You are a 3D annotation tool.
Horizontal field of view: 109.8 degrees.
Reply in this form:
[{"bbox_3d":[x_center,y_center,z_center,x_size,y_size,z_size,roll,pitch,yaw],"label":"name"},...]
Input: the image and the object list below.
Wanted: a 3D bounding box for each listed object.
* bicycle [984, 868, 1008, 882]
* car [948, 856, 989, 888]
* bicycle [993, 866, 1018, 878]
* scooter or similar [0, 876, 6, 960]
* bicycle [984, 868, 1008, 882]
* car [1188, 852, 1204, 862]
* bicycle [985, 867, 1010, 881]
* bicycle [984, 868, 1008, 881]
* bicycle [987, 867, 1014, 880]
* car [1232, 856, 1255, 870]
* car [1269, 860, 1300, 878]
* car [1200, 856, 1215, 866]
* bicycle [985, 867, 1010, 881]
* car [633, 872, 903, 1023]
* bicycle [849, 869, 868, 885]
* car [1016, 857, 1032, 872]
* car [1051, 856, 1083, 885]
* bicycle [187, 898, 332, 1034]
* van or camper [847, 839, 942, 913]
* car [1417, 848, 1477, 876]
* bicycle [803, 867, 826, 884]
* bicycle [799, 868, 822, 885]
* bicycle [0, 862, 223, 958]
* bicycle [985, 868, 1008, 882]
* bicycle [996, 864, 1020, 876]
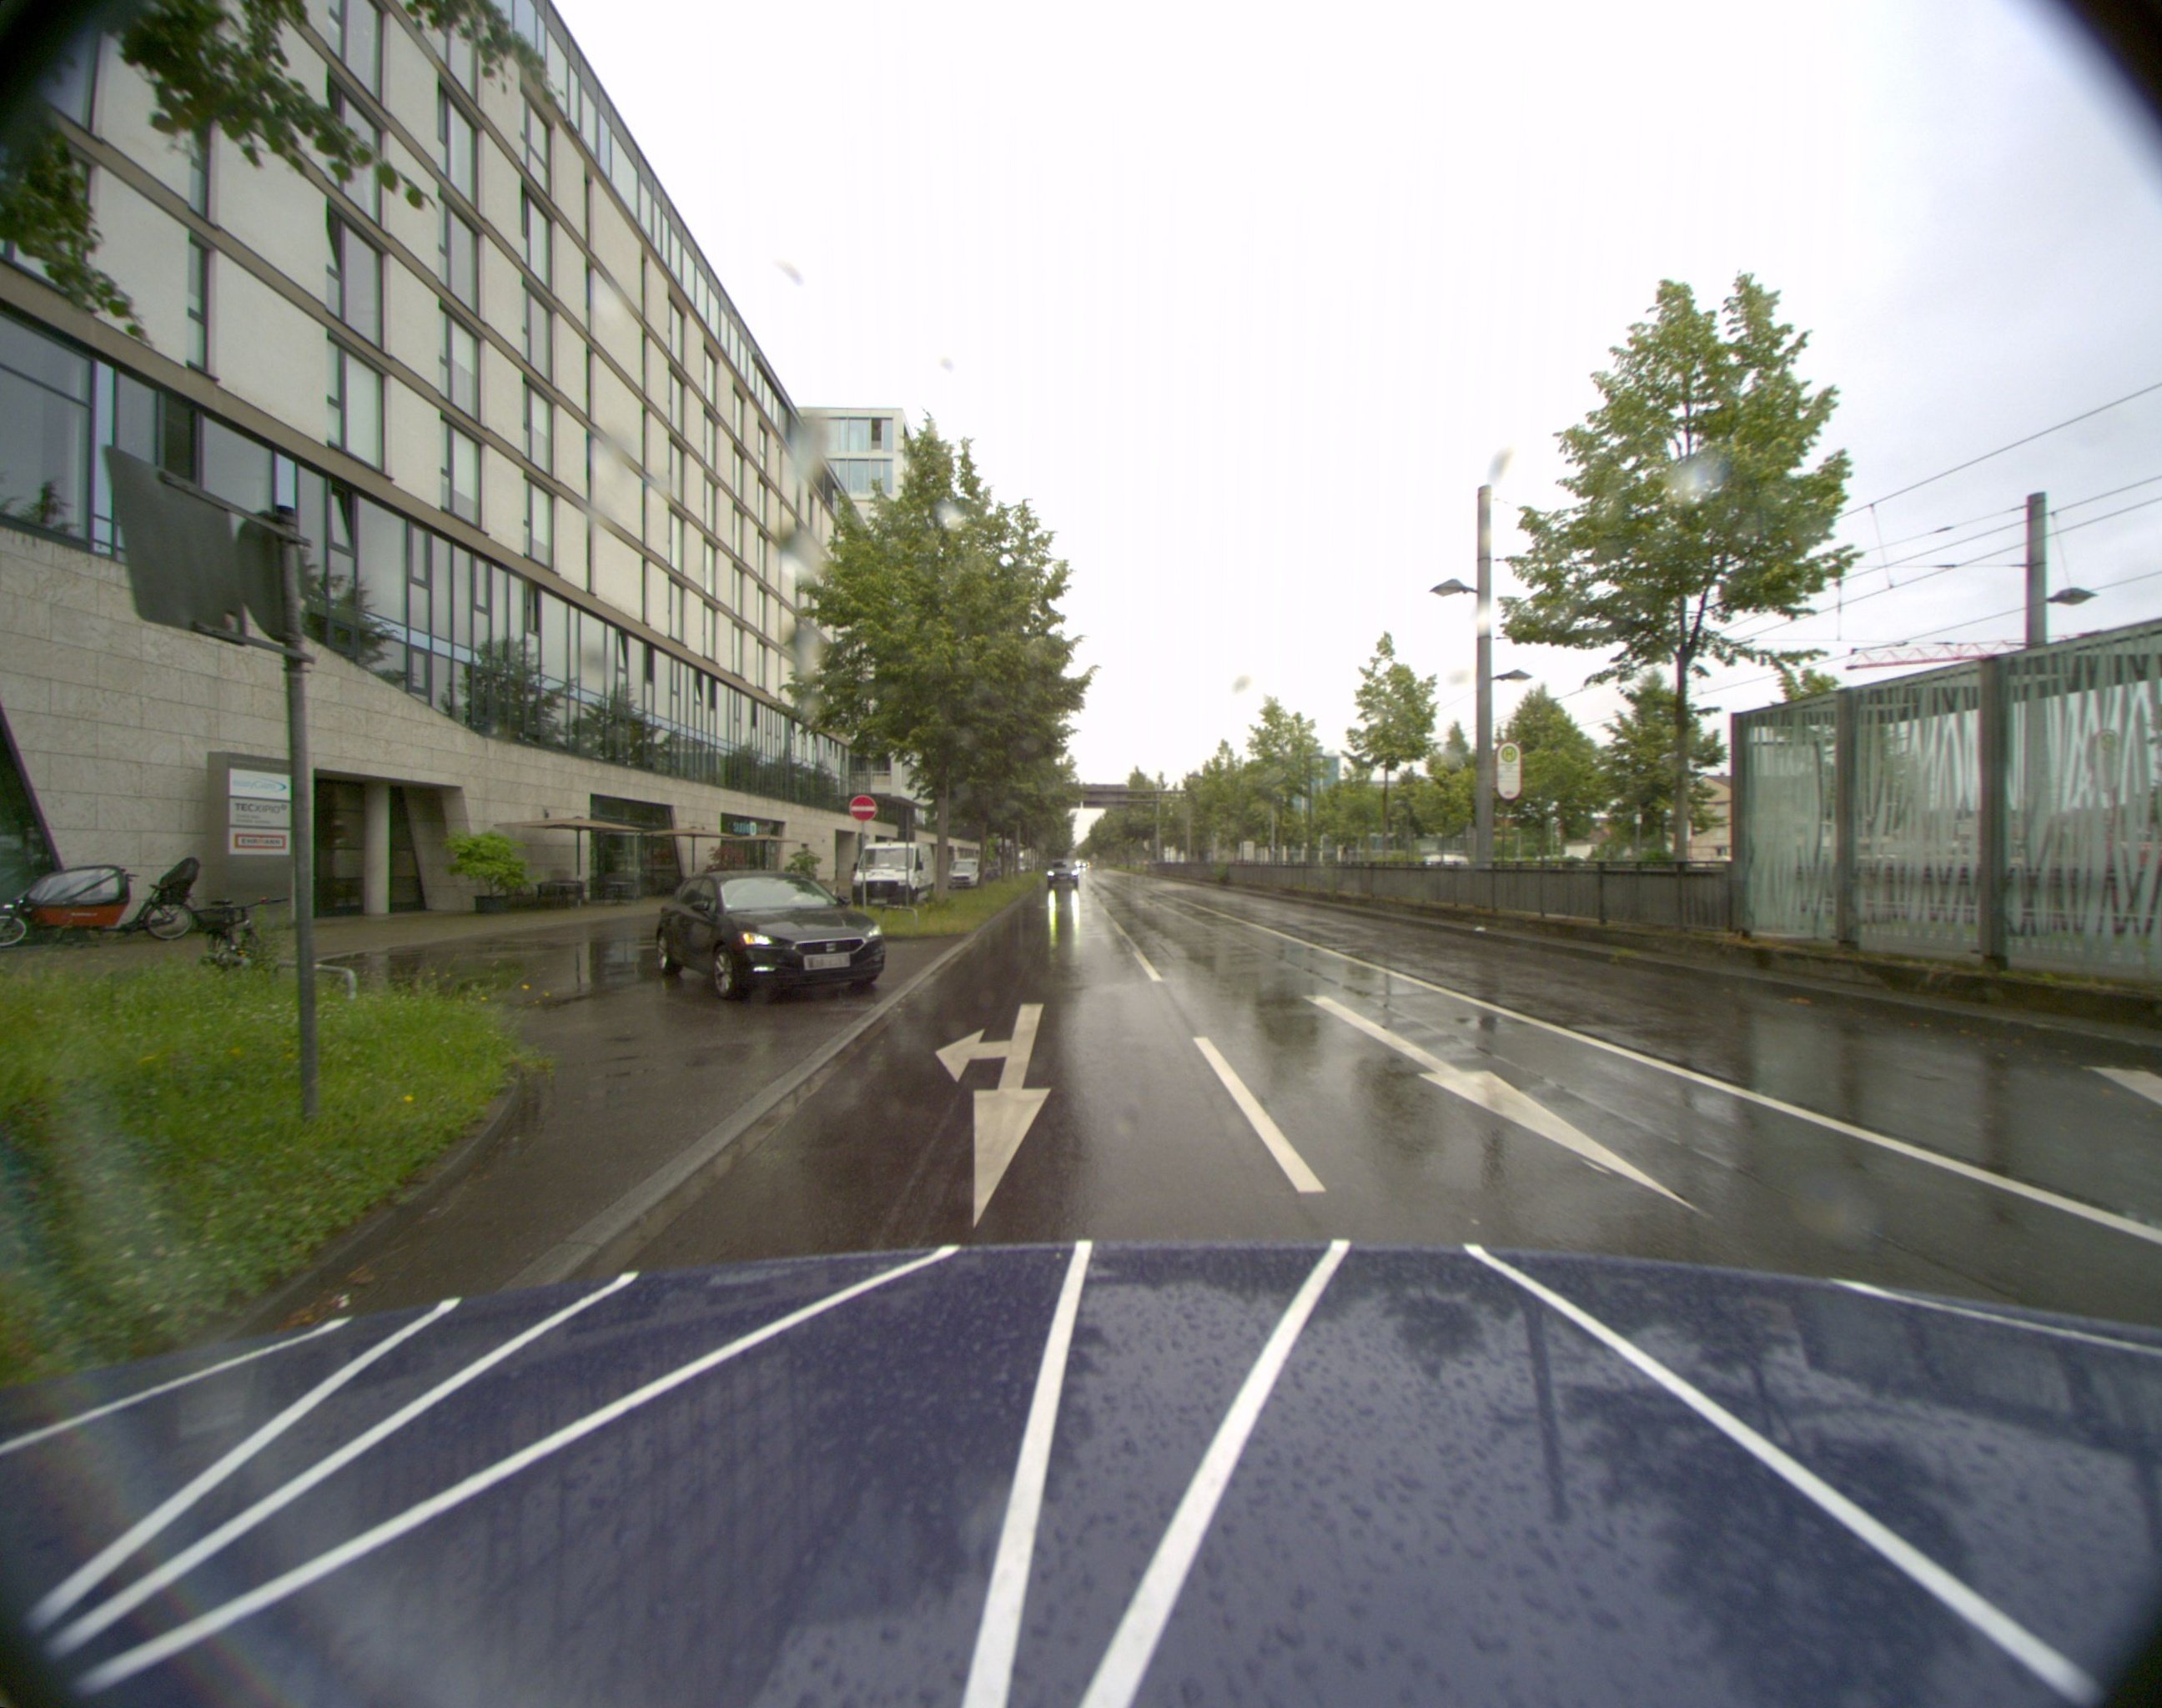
[{"bbox_3d":[-6.184,1.550,55.292,1.666,0.940,0.395,-2,1,-4],"label":"bicycle"},{"bbox_3d":[-6.603,1.035,45.167,1.746,1.749,4.848,-1,0,-1],"label":"car"},{"bbox_3d":[-6.307,1.511,63.352,2.040,0.940,0.466,-2,1,-4],"label":"bicycle"},{"bbox_3d":[-16.028,0.949,10.513,0.342,1.221,1.242,-2,1,19],"label":"scooter or similar"},{"bbox_3d":[-6.272,1.575,56.003,1.699,0.940,0.395,-2,1,-4],"label":"bicycle"},{"bbox_3d":[20.740,0.525,136.973,1.999,1.736,3.999,-2,0,-3],"label":"car"},{"bbox_3d":[-6.342,1.536,57.928,1.862,0.940,0.395,-2,1,-4],"label":"bicycle"},{"bbox_3d":[-6.412,1.543,57.241,1.793,0.940,0.395,-2,1,-4],"label":"bicycle"},{"bbox_3d":[-6.300,1.527,59.429,2.040,0.940,0.395,-2,1,-4],"label":"bicycle"},{"bbox_3d":[21.446,1.192,100.407,1.999,1.736,3.999,-2,0,-3],"label":"car"},{"bbox_3d":[21.625,1.529,80.746,1.999,1.736,3.999,-2,0,-3],"label":"car"},{"bbox_3d":[23.945,1.343,144.359,1.999,1.736,3.999,-2,0,-3],"label":"car"},{"bbox_3d":[-6.406,1.535,58.486,1.883,0.940,0.395,-2,1,-4],"label":"bicycle"},{"bbox_3d":[-4.190,0.979,9.745,1.836,1.412,4.333,-1,0,-42],"label":"car"},{"bbox_3d":[-13.790,1.396,47.139,0.402,0.940,1.859,-1,0,7],"label":"bicycle"},{"bbox_3d":[-7.015,1.251,94.369,1.659,1.710,3.999,-2,0,-1],"label":"car"},{"bbox_3d":[-0.812,0.997,46.929,1.816,1.603,4.000,-2,0,0],"label":"car"},{"bbox_3d":[-8.935,1.158,8.248,1.843,1.338,0.533,-2,-1,25],"label":"bicycle"},{"bbox_3d":[-6.336,0.687,26.562,2.031,2.279,5.459,-1,0,-1],"label":"van or camper"},{"bbox_3d":[24.906,0.510,51.845,1.999,1.736,3.999,-2,0,-3],"label":"car"},{"bbox_3d":[-15.711,1.282,44.848,2.024,0.940,0.396,-2,1,45],"label":"bicycle"},{"bbox_3d":[-15.636,1.282,43.912,2.024,0.940,0.396,-2,1,45],"label":"bicycle"},{"bbox_3d":[-15.833,0.848,12.457,0.734,1.394,2.425,1,-1,1],"label":"bicycle"},{"bbox_3d":[-6.332,1.576,56.717,1.649,0.940,0.395,-2,1,-4],"label":"bicycle"},{"bbox_3d":[-6.407,1.437,66.598,2.040,0.940,0.519,-2,1,-4],"label":"bicycle"}]
